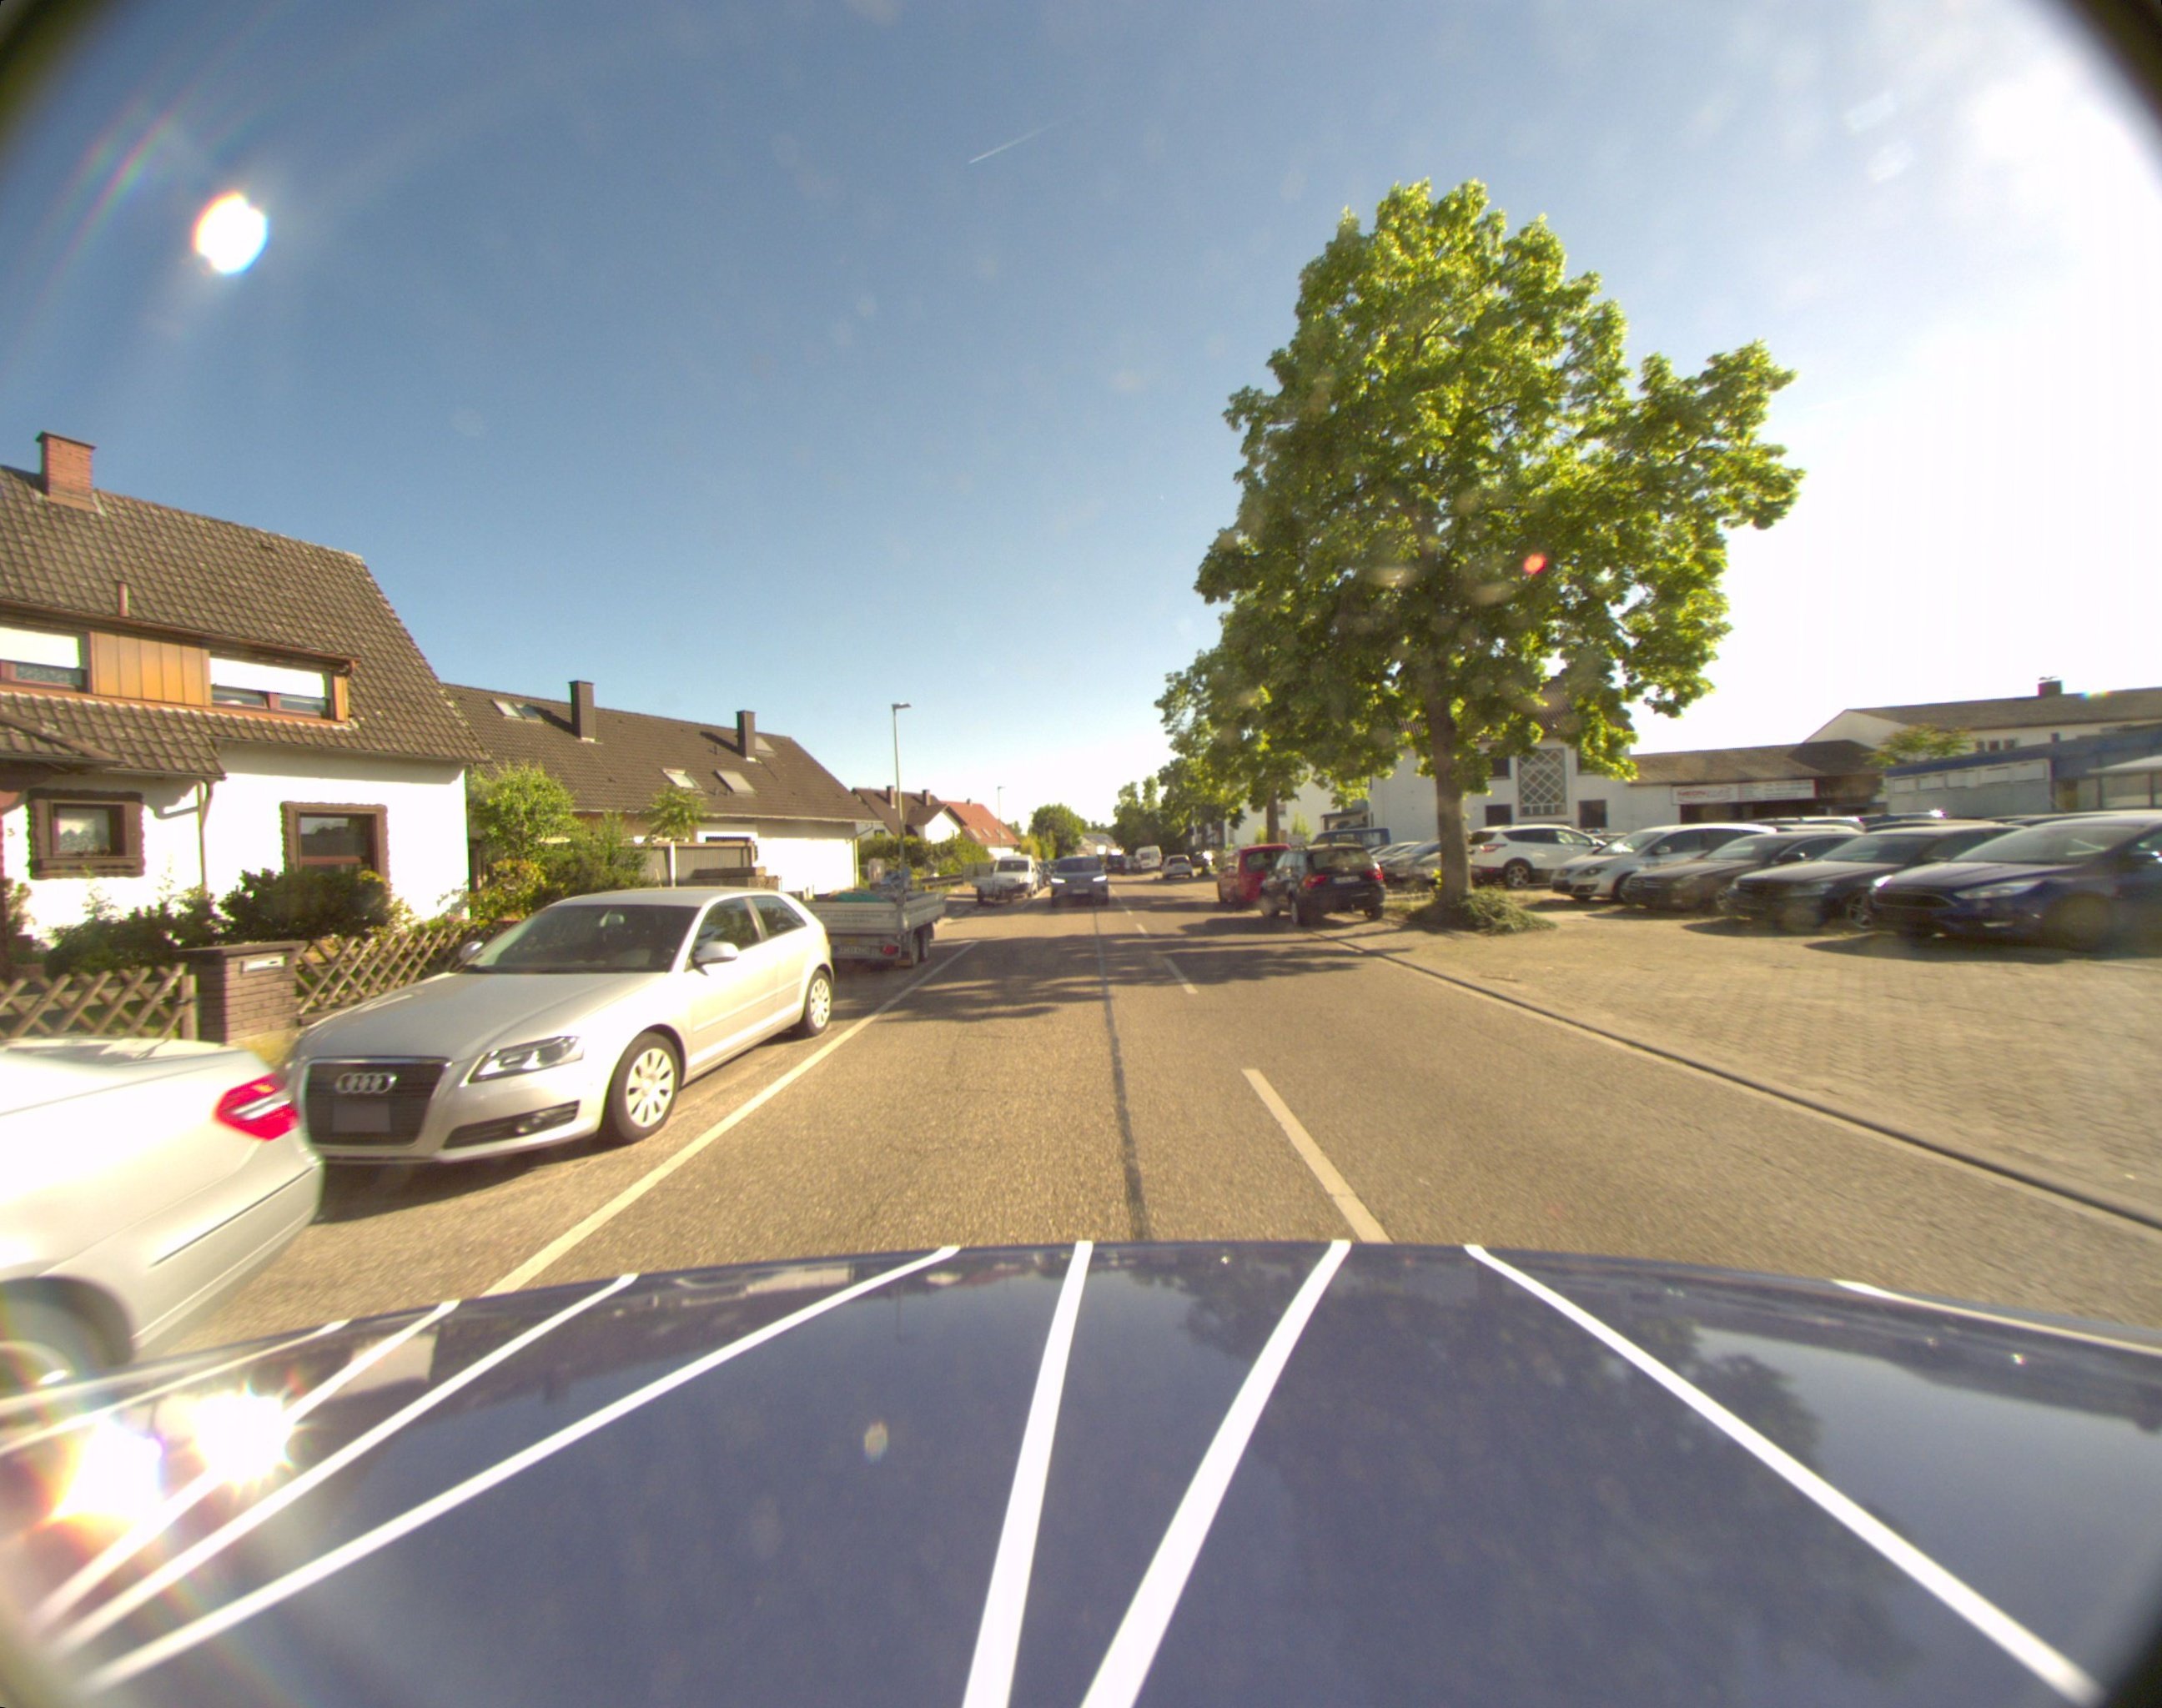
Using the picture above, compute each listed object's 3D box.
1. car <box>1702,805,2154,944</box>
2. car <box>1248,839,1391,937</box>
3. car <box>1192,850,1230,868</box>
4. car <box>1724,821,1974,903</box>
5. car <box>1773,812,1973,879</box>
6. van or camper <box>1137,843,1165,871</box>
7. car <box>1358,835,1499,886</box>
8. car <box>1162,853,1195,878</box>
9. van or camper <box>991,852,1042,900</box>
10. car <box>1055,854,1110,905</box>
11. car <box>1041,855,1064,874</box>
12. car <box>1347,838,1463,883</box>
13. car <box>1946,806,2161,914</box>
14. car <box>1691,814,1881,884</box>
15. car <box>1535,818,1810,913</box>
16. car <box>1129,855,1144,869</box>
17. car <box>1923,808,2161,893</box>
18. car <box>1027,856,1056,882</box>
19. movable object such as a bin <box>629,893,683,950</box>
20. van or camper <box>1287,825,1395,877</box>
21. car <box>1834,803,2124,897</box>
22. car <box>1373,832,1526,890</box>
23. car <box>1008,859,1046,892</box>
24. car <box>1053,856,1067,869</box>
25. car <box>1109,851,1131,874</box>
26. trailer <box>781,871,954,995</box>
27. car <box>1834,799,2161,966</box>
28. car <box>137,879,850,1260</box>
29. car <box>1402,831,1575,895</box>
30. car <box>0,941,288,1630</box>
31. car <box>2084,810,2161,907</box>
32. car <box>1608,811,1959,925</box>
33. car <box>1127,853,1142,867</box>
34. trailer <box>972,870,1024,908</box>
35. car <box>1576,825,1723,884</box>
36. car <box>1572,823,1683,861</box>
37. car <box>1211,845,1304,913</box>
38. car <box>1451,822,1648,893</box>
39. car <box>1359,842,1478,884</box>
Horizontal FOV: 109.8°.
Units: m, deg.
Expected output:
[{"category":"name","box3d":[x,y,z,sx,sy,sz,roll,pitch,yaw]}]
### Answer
[{"category":"car","box3d":[11.960,0.289,11.022,4.257,1.718,1.766,-2,0,7]},{"category":"car","box3d":[5.131,0.666,17.032,1.678,1.761,4.555,-5,0,0]},{"category":"car","box3d":[13.000,0.483,75.964,1.610,1.505,4.396,-3,0,41]},{"category":"car","box3d":[16.343,0.147,16.501,1.667,1.508,4.002,-2,0,7]},{"category":"car","box3d":[20.838,-0.214,20.233,1.667,1.555,3.717,-2,0,7]},{"category":"van or camper","box3d":[6.594,0.325,72.065,2.128,2.475,5.556,-2,-1,1]},{"category":"car","box3d":[12.620,0.244,27.774,4.260,1.576,1.766,-3,0,0]},{"category":"car","box3d":[6.369,0.732,50.084,1.691,1.427,4.209,-5,0,3]},{"category":"van or camper","box3d":[-2.737,0.886,33.133,1.723,1.879,4.179,-3,0,1]},{"category":"car","box3d":[0.050,0.869,26.832,1.777,1.624,3.704,-2,-1,0]},{"category":"car","box3d":[-2.696,0.959,73.057,1.780,1.649,4.304,-3,0,2]},{"category":"car","box3d":[12.612,0.247,29.724,3.814,1.533,1.548,-3,0,1]},{"category":"car","box3d":[15.995,0.047,11.424,1.667,1.508,4.002,-2,0,7]},{"category":"car","box3d":[18.628,-0.120,20.354,1.667,1.609,4.002,-2,0,7]},{"category":"car","box3d":[12.167,0.228,15.860,4.258,1.718,1.766,-2,0,3]},{"category":"car","box3d":[6.176,0.837,84.973,1.613,1.427,4.314,-4,0,3]},{"category":"car","box3d":[20.518,-0.088,15.985,1.667,1.555,3.783,-2,0,7]},{"category":"car","box3d":[-2.696,1.021,52.952,1.780,1.649,3.816,-3,0,-1]},{"category":"movable object such as a bin","box3d":[-8.505,1.338,15.223,0.524,1.047,0.754,-2,1,26]},{"category":"van or camper","box3d":[13.004,-0.158,38.314,4.900,2.307,2.246,-3,1,14]},{"category":"car","box3d":[18.615,-0.076,16.087,1.667,1.683,4.002,-2,0,7]},{"category":"car","box3d":[12.291,0.220,25.570,4.258,1.742,1.766,-2,0,4]},{"category":"car","box3d":[-2.749,1.085,39.473,1.723,1.496,3.563,-3,0,-1]},{"category":"car","box3d":[-2.644,1.062,95.707,1.661,1.591,3.815,-3,0,-3]},{"category":"car","box3d":[3.616,0.753,71.021,1.899,2.019,4.818,-1,0,1]},{"category":"trailer","box3d":[-3.142,1.100,11.806,1.631,1.529,3.198,-2,0,2]},{"category":"car","box3d":[11.835,0.264,8.767,4.257,1.718,1.766,-2,0,7]},{"category":"car","box3d":[-3.280,1.052,5.432,1.678,1.533,4.044,-3,0,4]},{"category":"car","box3d":[12.263,0.277,23.126,4.257,1.718,1.766,-2,0,7]},{"category":"car","box3d":[-3.374,1.073,0.125,1.788,1.533,4.536,-2,0,-2]},{"category":"car","box3d":[17.971,0.044,11.062,1.667,1.555,4.002,-2,0,7]},{"category":"car","box3d":[12.024,0.246,13.286,4.257,1.718,1.766,-2,0,7]},{"category":"car","box3d":[6.460,0.730,91.927,1.697,1.556,3.908,-5,0,3]},{"category":"trailer","box3d":[-3.066,1.274,28.544,1.631,1.210,3.144,-2,0,-2]},{"category":"car","box3d":[16.516,0.005,22.344,1.667,1.508,4.002,-2,0,7]},{"category":"car","box3d":[25.246,-0.534,35.212,3.811,1.533,1.549,-3,0,13]},{"category":"car","box3d":[5.258,0.687,23.192,1.808,1.742,4.342,-4,0,1]},{"category":"car","box3d":[12.751,0.095,20.868,4.259,1.718,1.766,-2,0,1]},{"category":"car","box3d":[14.339,0.382,32.508,4.257,1.533,1.766,-3,0,7]}]
